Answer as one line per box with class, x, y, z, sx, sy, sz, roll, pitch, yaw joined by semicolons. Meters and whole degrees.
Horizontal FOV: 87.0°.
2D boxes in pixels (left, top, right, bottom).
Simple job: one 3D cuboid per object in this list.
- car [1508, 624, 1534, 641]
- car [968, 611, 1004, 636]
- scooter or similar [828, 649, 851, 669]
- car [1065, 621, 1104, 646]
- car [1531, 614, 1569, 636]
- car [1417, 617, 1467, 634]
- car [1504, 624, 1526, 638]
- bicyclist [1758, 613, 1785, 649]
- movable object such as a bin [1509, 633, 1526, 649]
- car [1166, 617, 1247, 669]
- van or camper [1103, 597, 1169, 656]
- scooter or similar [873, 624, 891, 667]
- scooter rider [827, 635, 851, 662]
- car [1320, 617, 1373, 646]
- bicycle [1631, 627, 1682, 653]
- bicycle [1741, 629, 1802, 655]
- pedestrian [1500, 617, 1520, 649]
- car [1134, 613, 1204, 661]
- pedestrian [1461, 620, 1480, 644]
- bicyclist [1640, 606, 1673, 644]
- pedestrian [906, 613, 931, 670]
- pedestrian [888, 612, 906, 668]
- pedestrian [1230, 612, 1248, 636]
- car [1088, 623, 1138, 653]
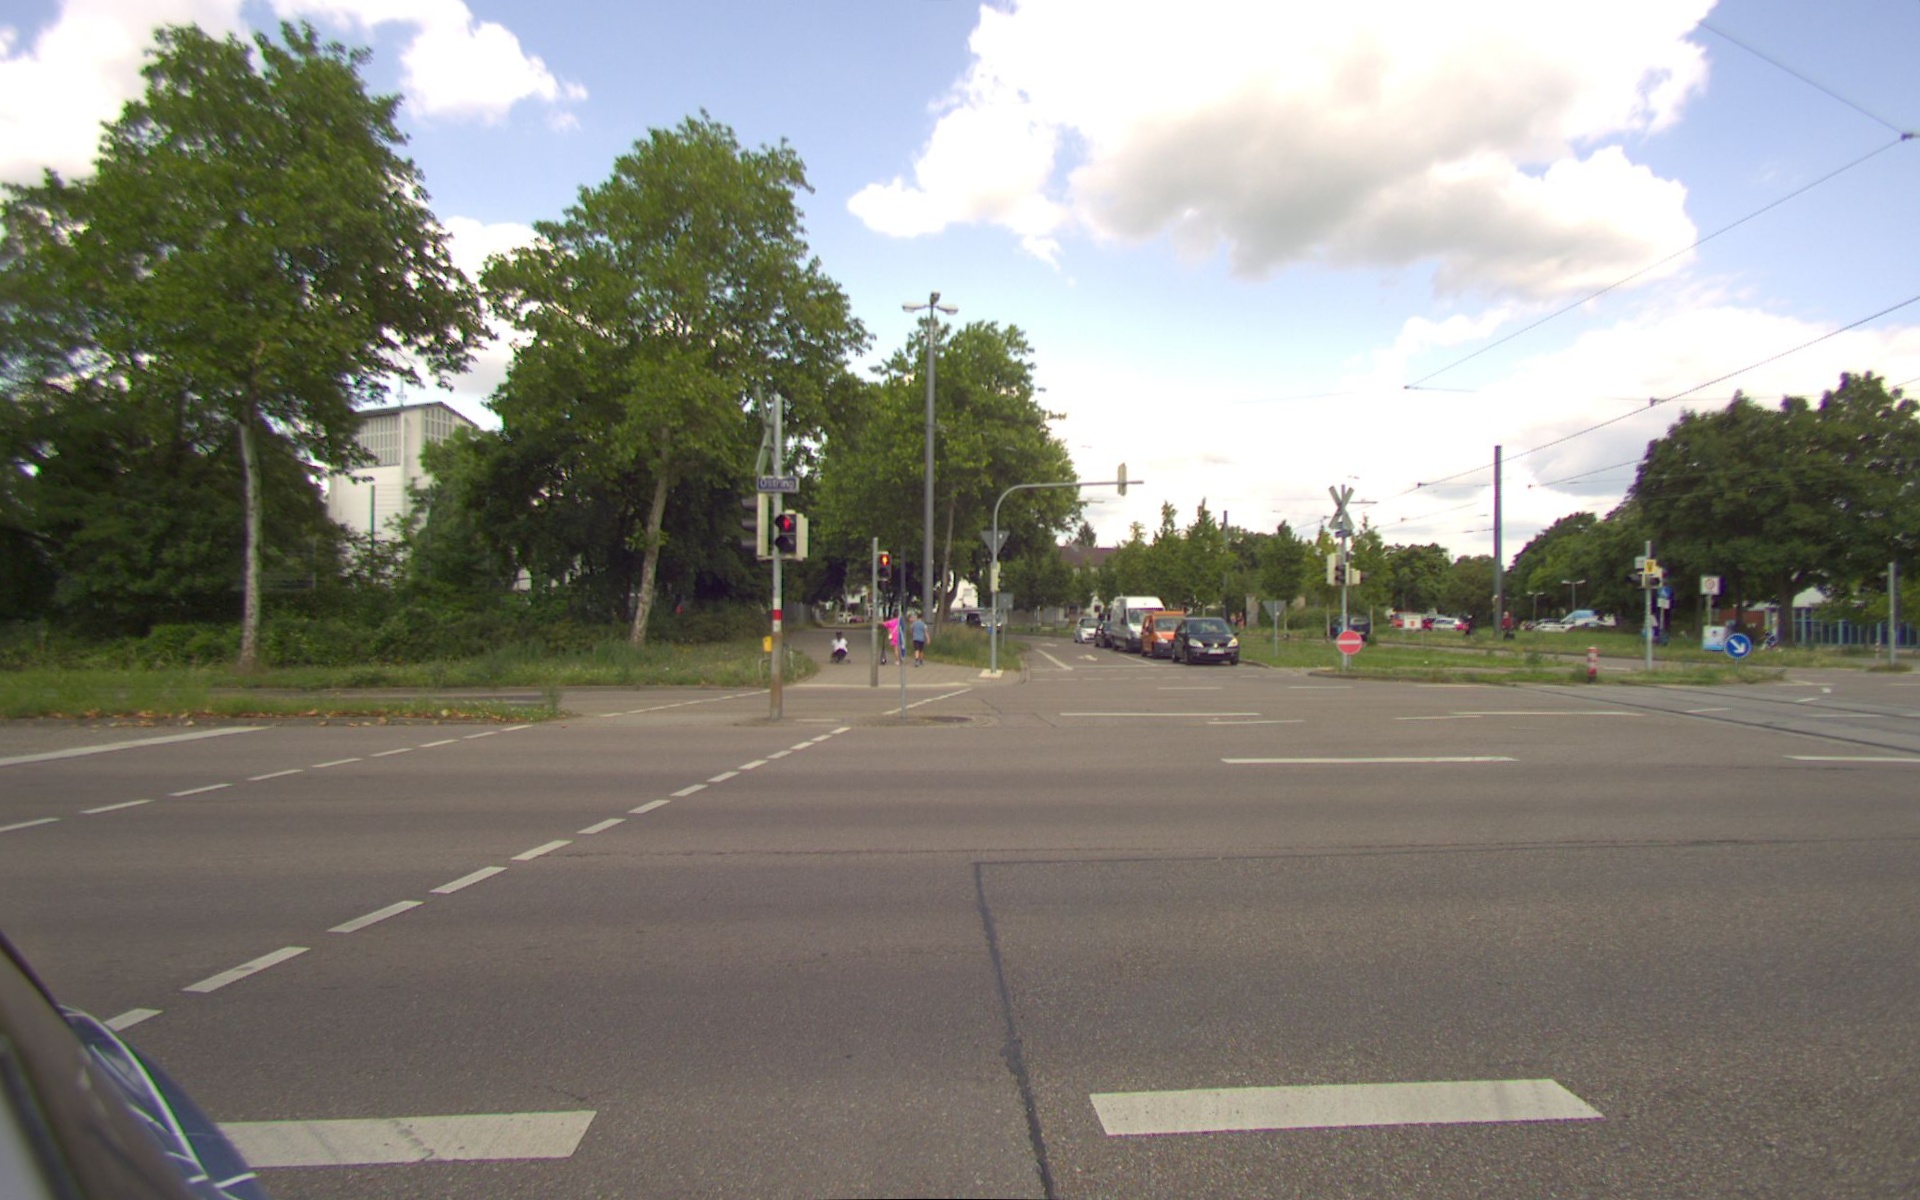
car;58.777;3.382;106.104;1.988;1.652;4.355;-1;-1;24
car;2.221;2.043;88.220;1.824;2.172;4.396;0;-1;-18
scooter or similar;-3.447;1.694;28.989;0.602;0.515;0.858;-2;-1;-4
car;7.524;2.019;61.685;1.786;1.442;4.383;0;-1;-1
car;45.257;1.928;77.682;1.988;1.652;4.355;-1;-1;24
car;43.249;2.283;90.949;3.977;1.541;1.983;-1;-1;25
car;68.243;3.840;124.403;1.988;1.652;4.355;-1;-1;24
bicyclist;35.040;1.333;43.683;0.836;1.500;0.949;-1;-2;43
movable object such as a bin;29.244;2.162;53.059;0.569;0.817;0.461;-2;-1;-15
car;8.217;1.394;34.104;1.711;1.643;4.052;0;-1;0
van or camper;8.082;1.237;47.087;1.954;2.544;6.037;0;-2;-1
scooter or similar;-2.295;1.324;29.806;0.318;1.241;0.773;-2;-1;9
scooter rider;-3.459;1.386;28.985;0.603;0.734;0.860;-2;-1;-4
car;23.098;1.863;60.596;1.704;1.629;3.997;0;-1;2
bicycle;32.292;1.838;46.941;0.938;1.163;1.984;0;-1;-2
bicycle;35.021;1.797;43.684;1.984;1.048;0.938;-1;-2;43
pedestrian;29.099;1.757;53.549;0.603;1.657;0.640;-2;-1;-15
car;8.259;1.449;40.369;1.858;1.813;4.369;0;-1;0
pedestrian;29.773;1.878;58.980;0.642;1.364;0.752;-2;-1;-1
bicyclist;32.295;1.157;46.935;0.949;1.735;0.836;0;-1;-2
pedestrian;-1.216;1.202;29.567;0.625;1.631;0.609;-1;-1;7
pedestrian;-1.840;1.176;29.684;0.416;1.631;0.595;-1;-1;7
pedestrian;24.300;2.097;88.255;1.088;2.029;1.180;0;-1;-12
car;8.014;1.954;53.298;1.785;1.442;4.471;0;0;-2
